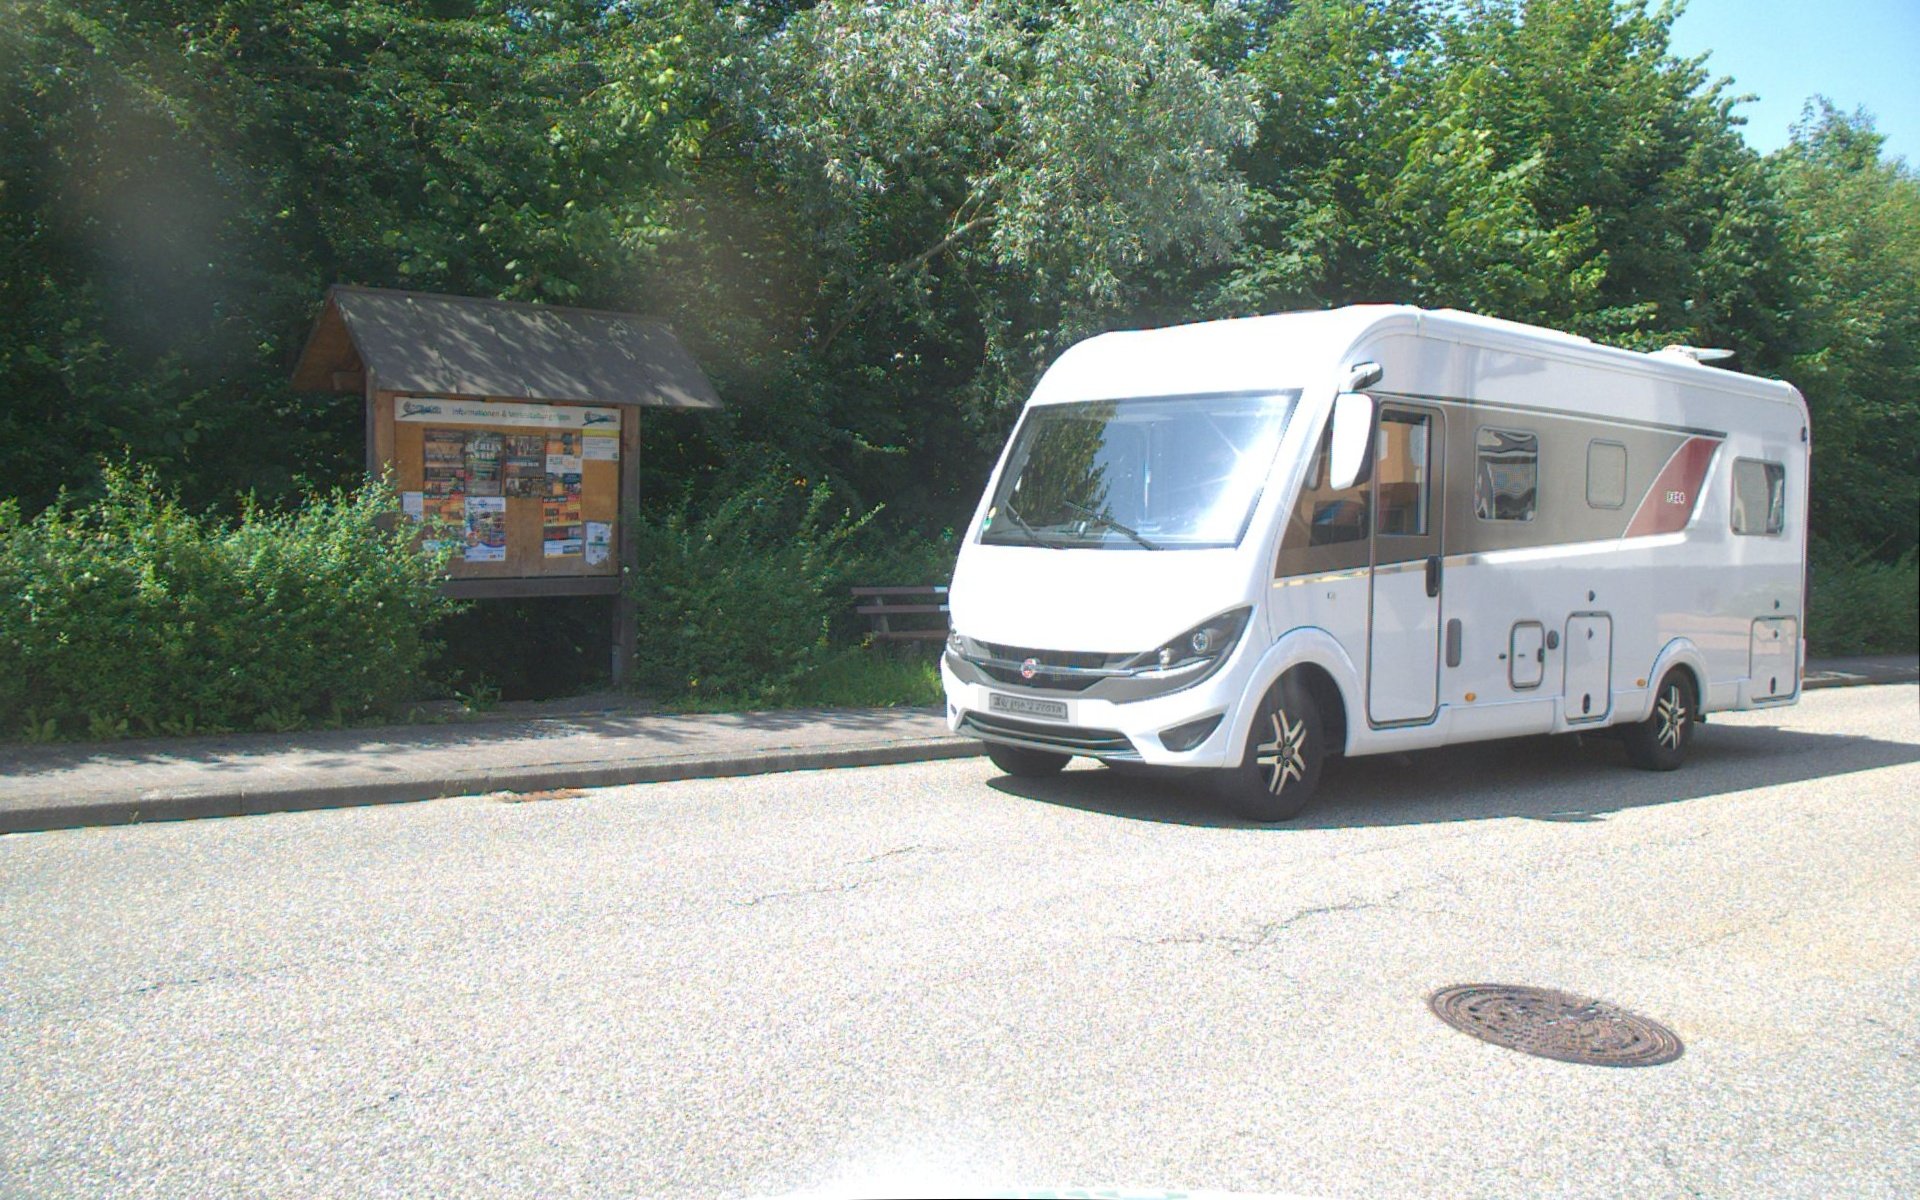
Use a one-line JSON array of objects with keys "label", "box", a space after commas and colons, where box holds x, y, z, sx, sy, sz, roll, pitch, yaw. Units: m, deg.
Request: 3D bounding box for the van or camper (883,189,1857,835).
[{"label": "van or camper", "box": [3.317, -0.459, 11.269, 7.982, 3.004, 2.330, 0, 3, -42]}]
